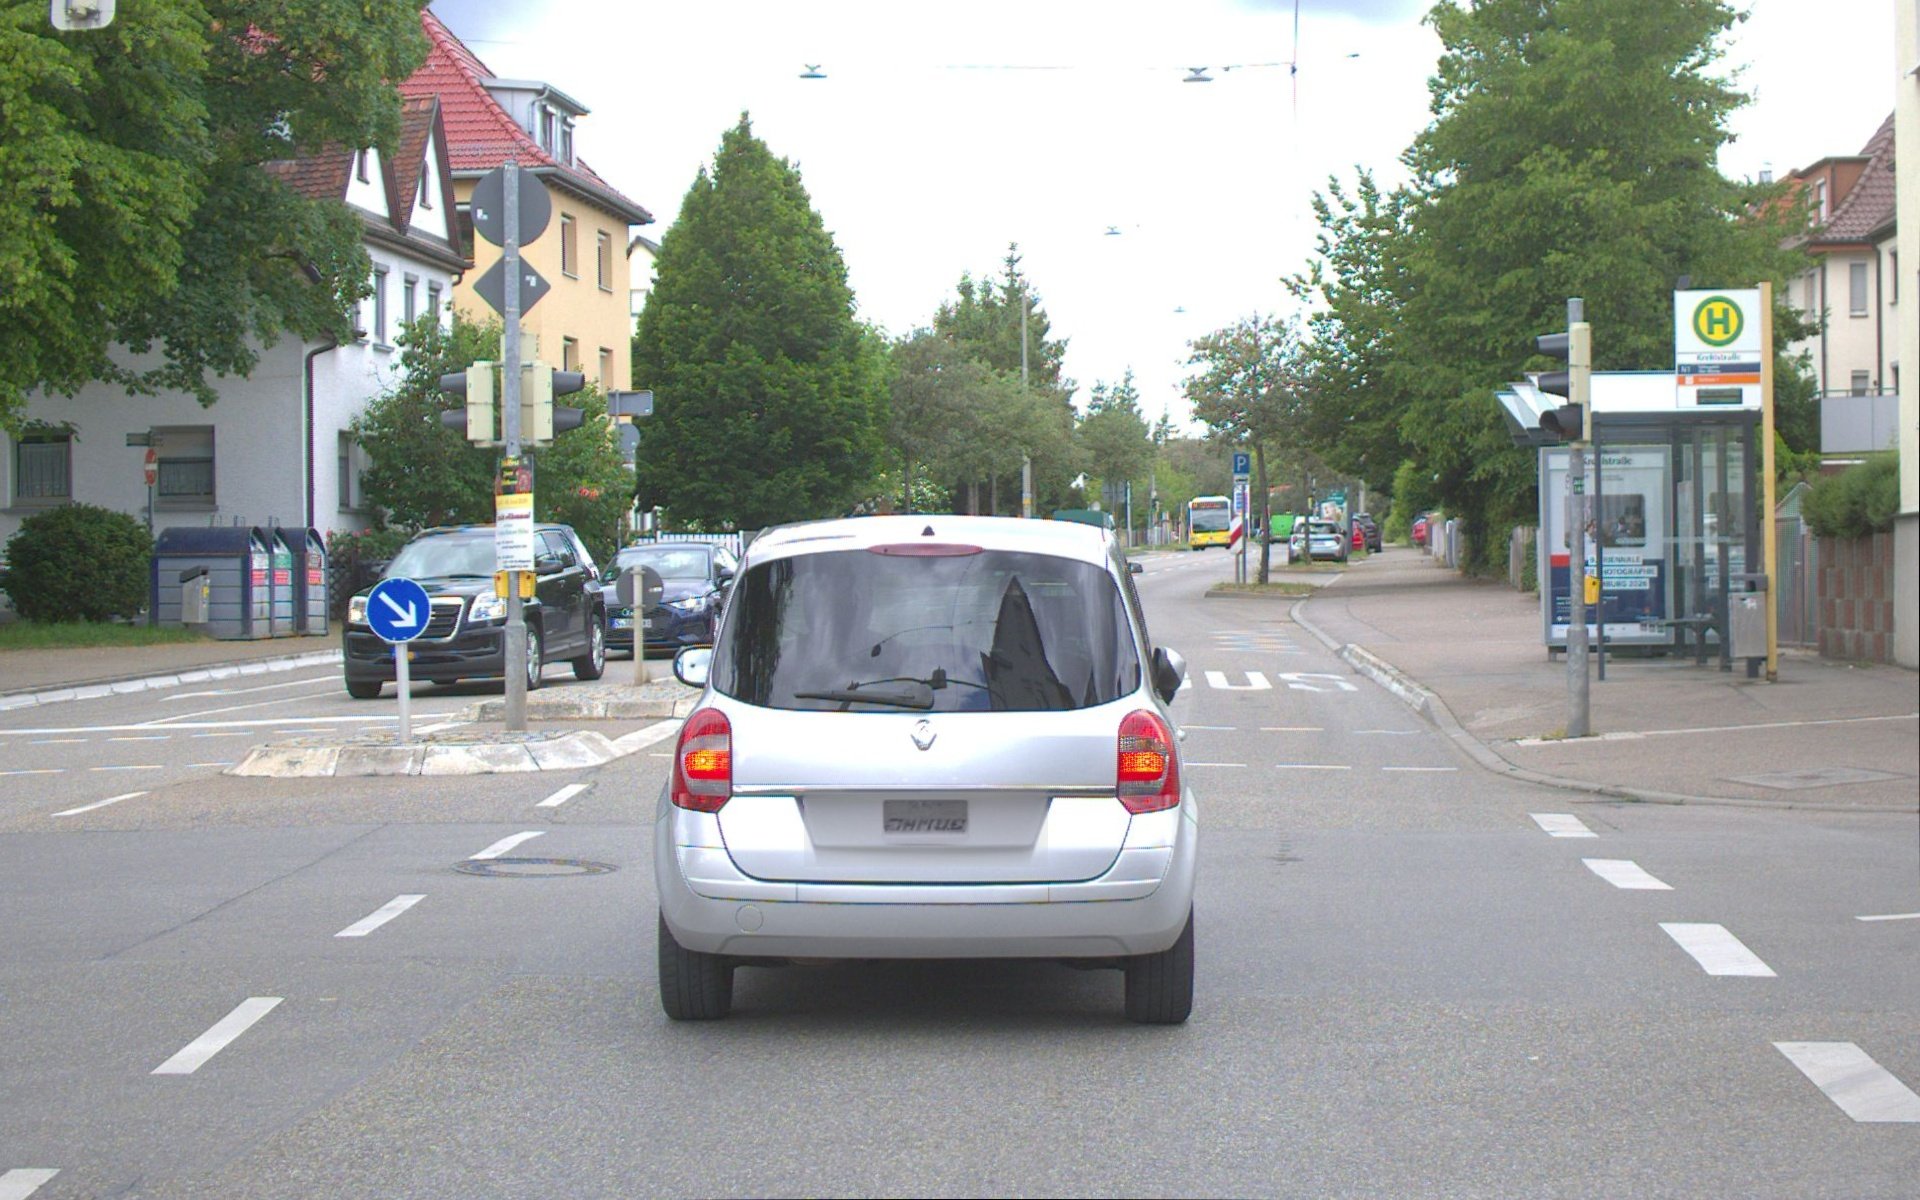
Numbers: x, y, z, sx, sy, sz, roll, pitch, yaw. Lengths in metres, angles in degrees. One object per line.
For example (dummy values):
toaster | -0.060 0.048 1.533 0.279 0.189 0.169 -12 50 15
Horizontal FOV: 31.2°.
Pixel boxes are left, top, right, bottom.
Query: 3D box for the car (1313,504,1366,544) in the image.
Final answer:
car | 13.764 -2.766 124.610 1.663 1.388 3.666 -1 2 10

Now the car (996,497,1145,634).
car | 1.402 -0.463 44.682 1.829 1.670 3.574 -1 1 1

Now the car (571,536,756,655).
car | -3.723 -0.069 43.828 1.564 1.415 4.129 -1 0 6

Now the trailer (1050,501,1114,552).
trailer | 5.216 -3.121 146.524 2.312 2.079 5.871 0 1 6

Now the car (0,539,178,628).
car | -15.354 -0.246 57.636 3.988 1.327 1.722 -3 0 5

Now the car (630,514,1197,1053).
car | -0.156 0.513 11.949 1.630 1.551 4.000 0 1 -1

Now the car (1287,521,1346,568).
car | 10.958 -1.690 105.577 1.650 1.377 3.999 0 0 8

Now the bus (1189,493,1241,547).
bus | 15.406 -4.843 207.188 2.632 3.075 12.068 -2 1 6

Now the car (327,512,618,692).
car | -4.867 0.010 34.992 1.758 1.629 4.594 -3 0 7
